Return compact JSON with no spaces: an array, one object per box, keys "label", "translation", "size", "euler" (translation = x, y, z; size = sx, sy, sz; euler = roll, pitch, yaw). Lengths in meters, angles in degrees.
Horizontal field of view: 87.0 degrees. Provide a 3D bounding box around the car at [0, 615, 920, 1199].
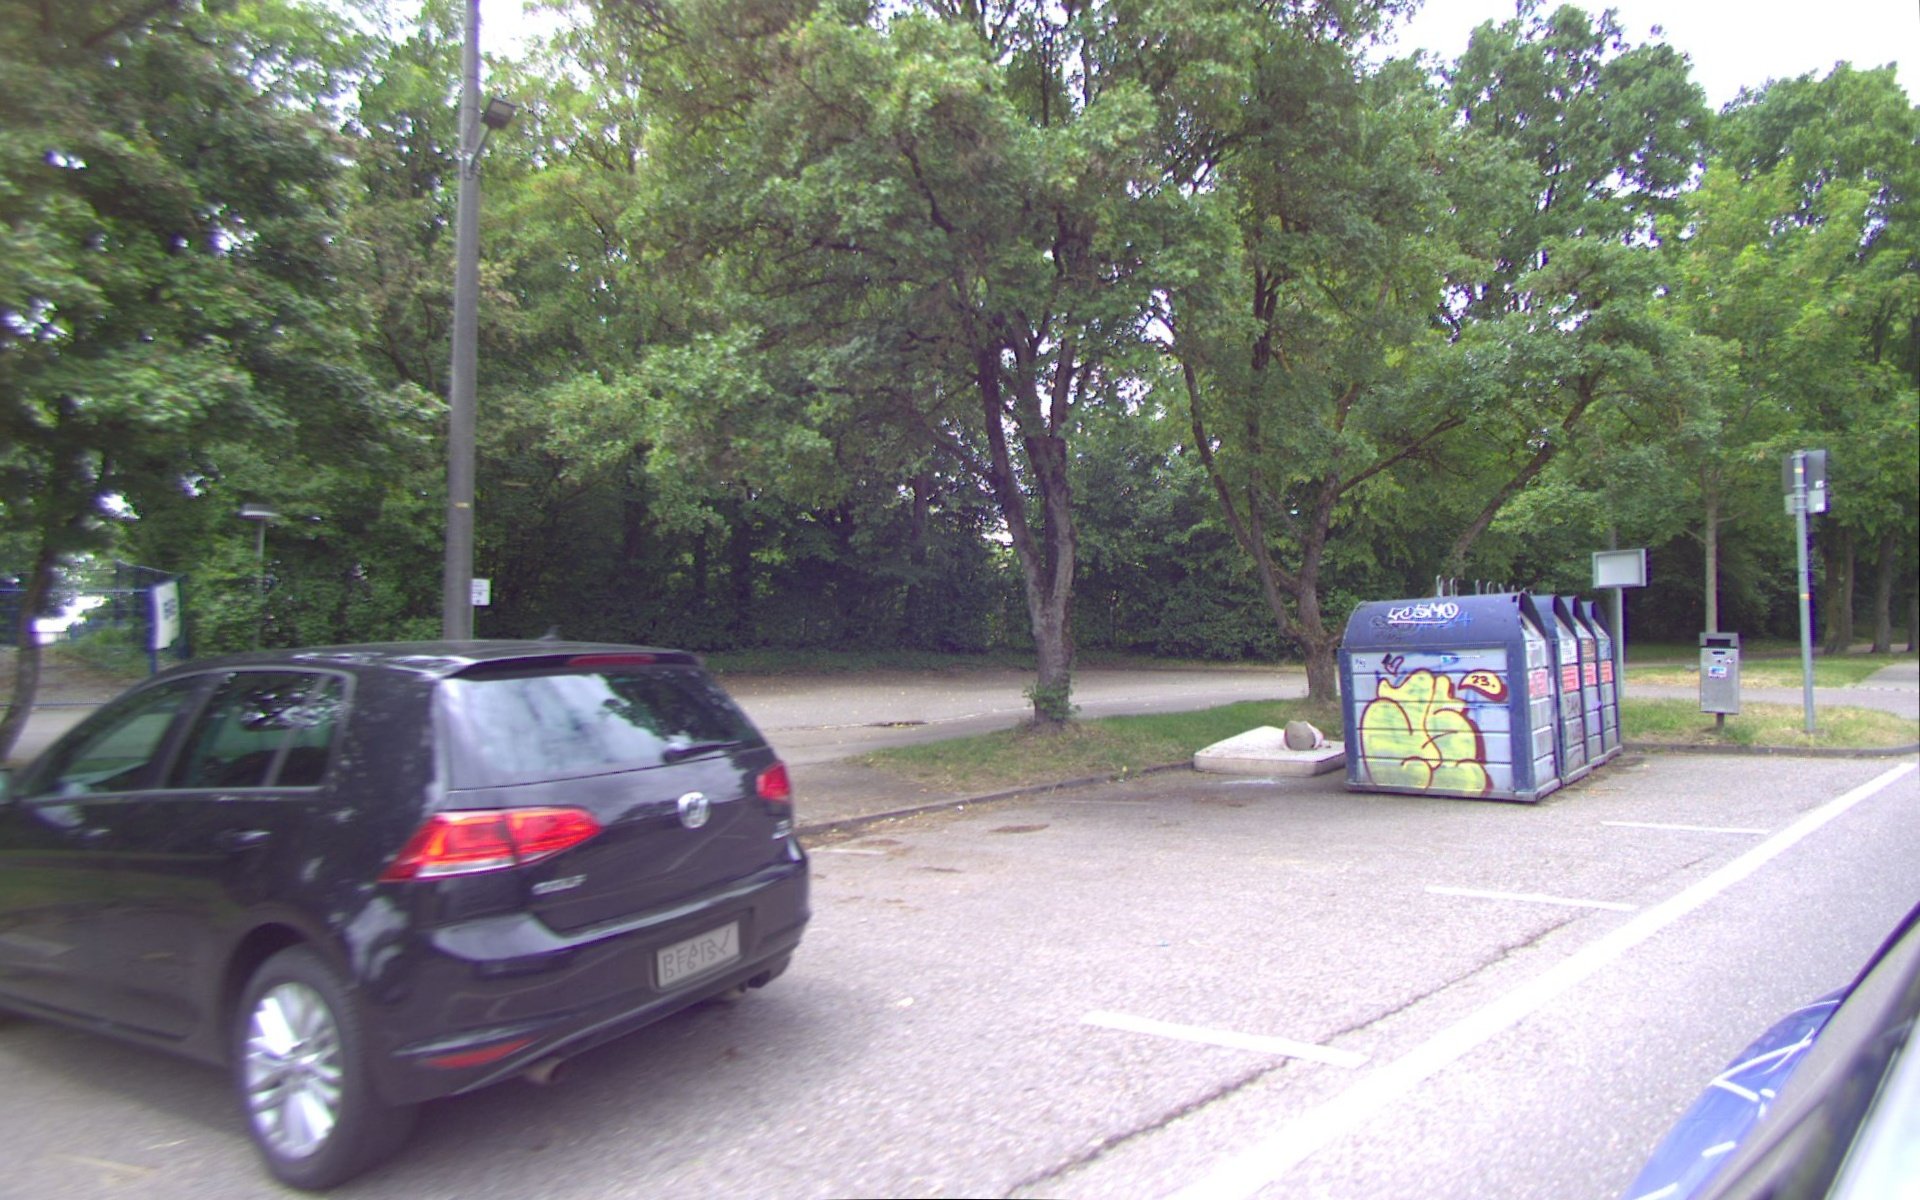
[{"label":"car","translation":[-2.397,0.888,4.092],"size":[3.961,1.432,2.037],"euler":[-4,-3,28]}]
